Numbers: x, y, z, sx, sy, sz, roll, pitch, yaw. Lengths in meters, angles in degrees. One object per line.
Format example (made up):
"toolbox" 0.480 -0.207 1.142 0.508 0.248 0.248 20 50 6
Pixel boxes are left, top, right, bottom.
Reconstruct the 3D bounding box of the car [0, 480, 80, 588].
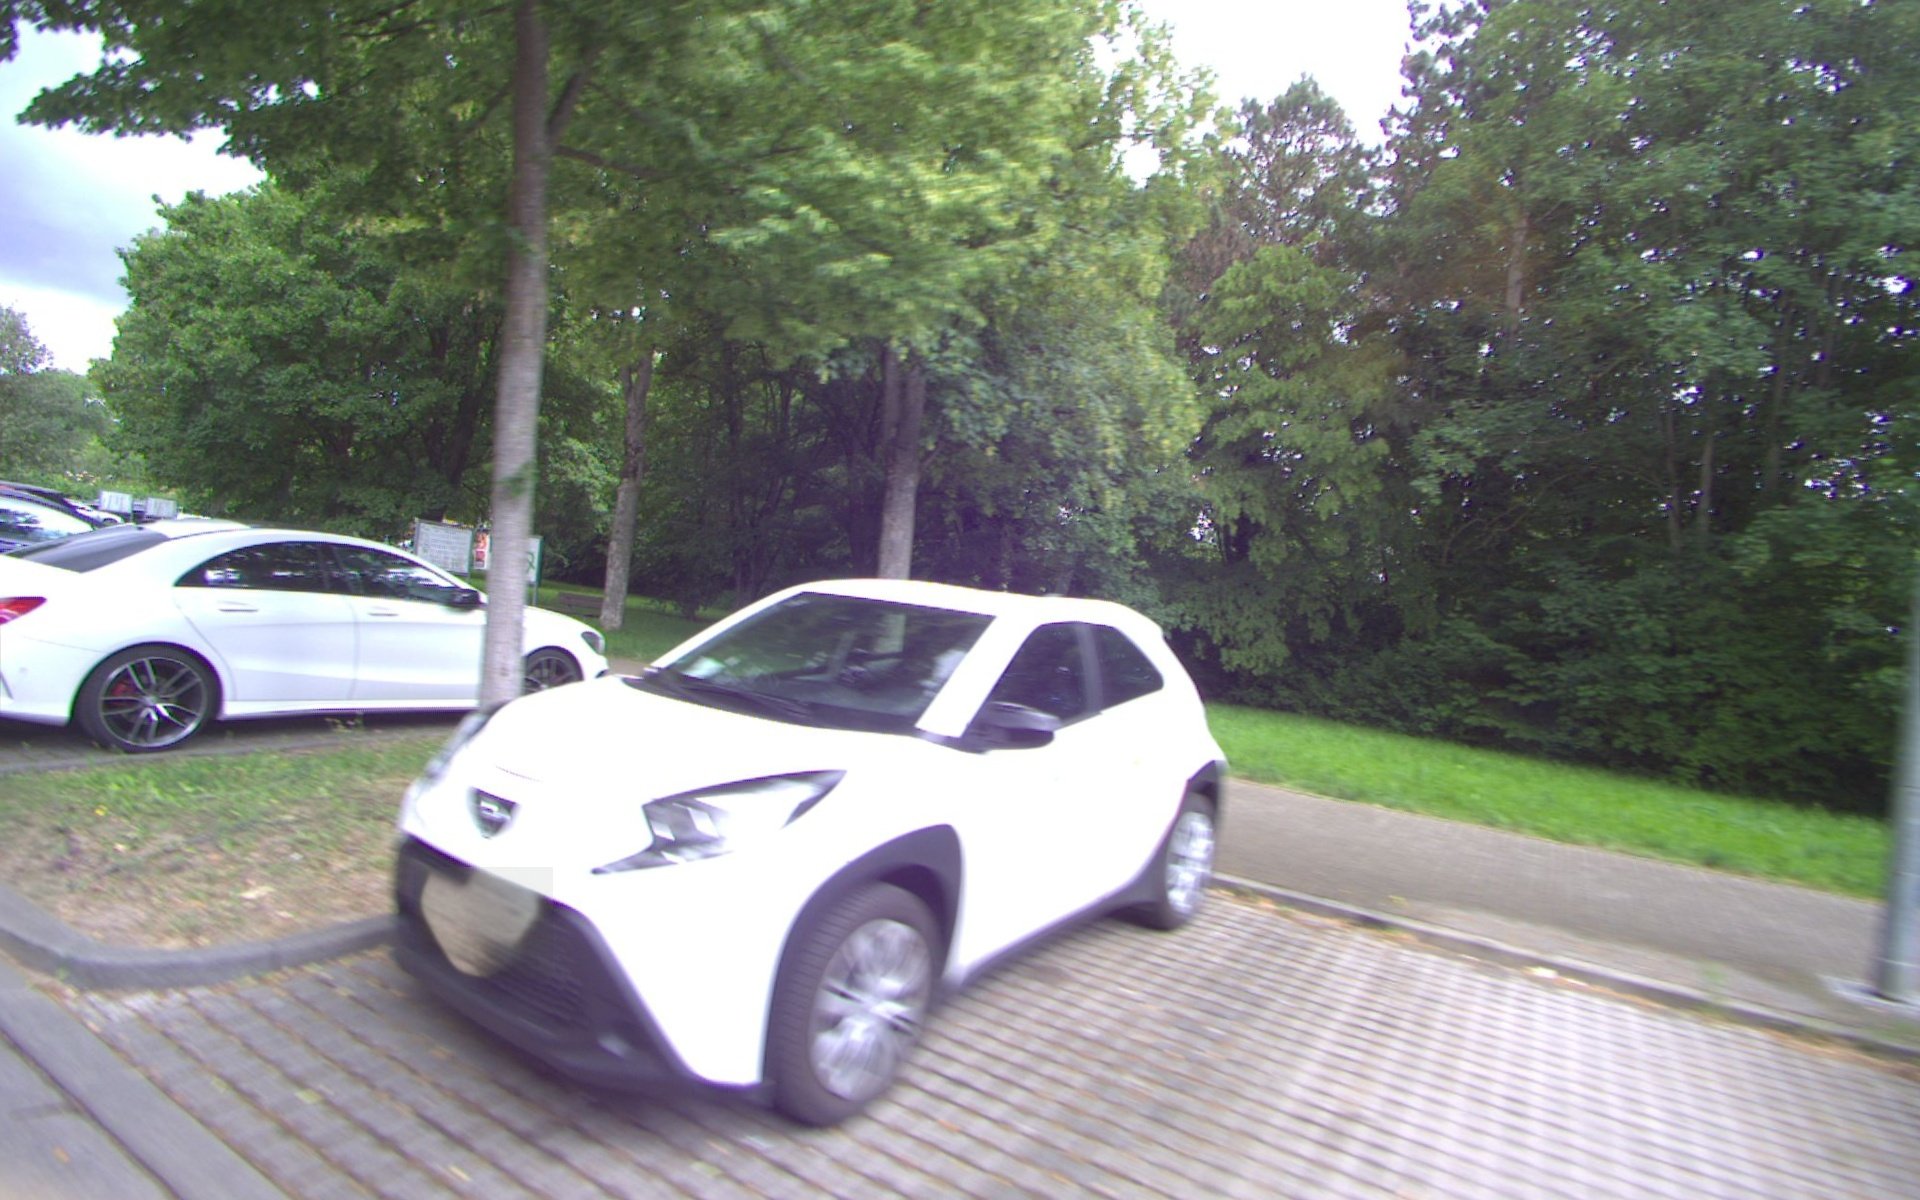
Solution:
"car" -15.751 -1.158 14.190 1.950 1.537 4.637 7 1 33

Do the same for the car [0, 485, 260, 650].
"car" -9.432 -0.380 9.611 1.821 1.475 4.074 6 1 32

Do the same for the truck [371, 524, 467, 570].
"truck" -38.350 -3.743 71.450 2.160 2.455 5.504 6 -1 38

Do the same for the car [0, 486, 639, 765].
"car" -4.817 0.149 7.430 1.816 1.473 4.488 6 1 31

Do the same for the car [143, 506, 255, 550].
"car" -49.300 -4.646 65.307 2.106 2.081 5.317 6 -1 38

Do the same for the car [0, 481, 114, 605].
"car" -13.454 -0.864 12.490 1.819 1.537 4.078 6 1 28

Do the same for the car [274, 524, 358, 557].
"car" -42.347 -3.889 66.205 1.678 1.544 4.280 6 -1 38

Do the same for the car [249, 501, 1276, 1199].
"car" -0.282 0.647 4.120 1.851 1.535 3.840 7 1 34

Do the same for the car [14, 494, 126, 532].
"car" -49.772 -4.840 56.329 1.678 1.445 4.391 6 -1 37

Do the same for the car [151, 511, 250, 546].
"car" -46.151 -4.321 61.202 1.678 1.445 4.426 6 -1 38
